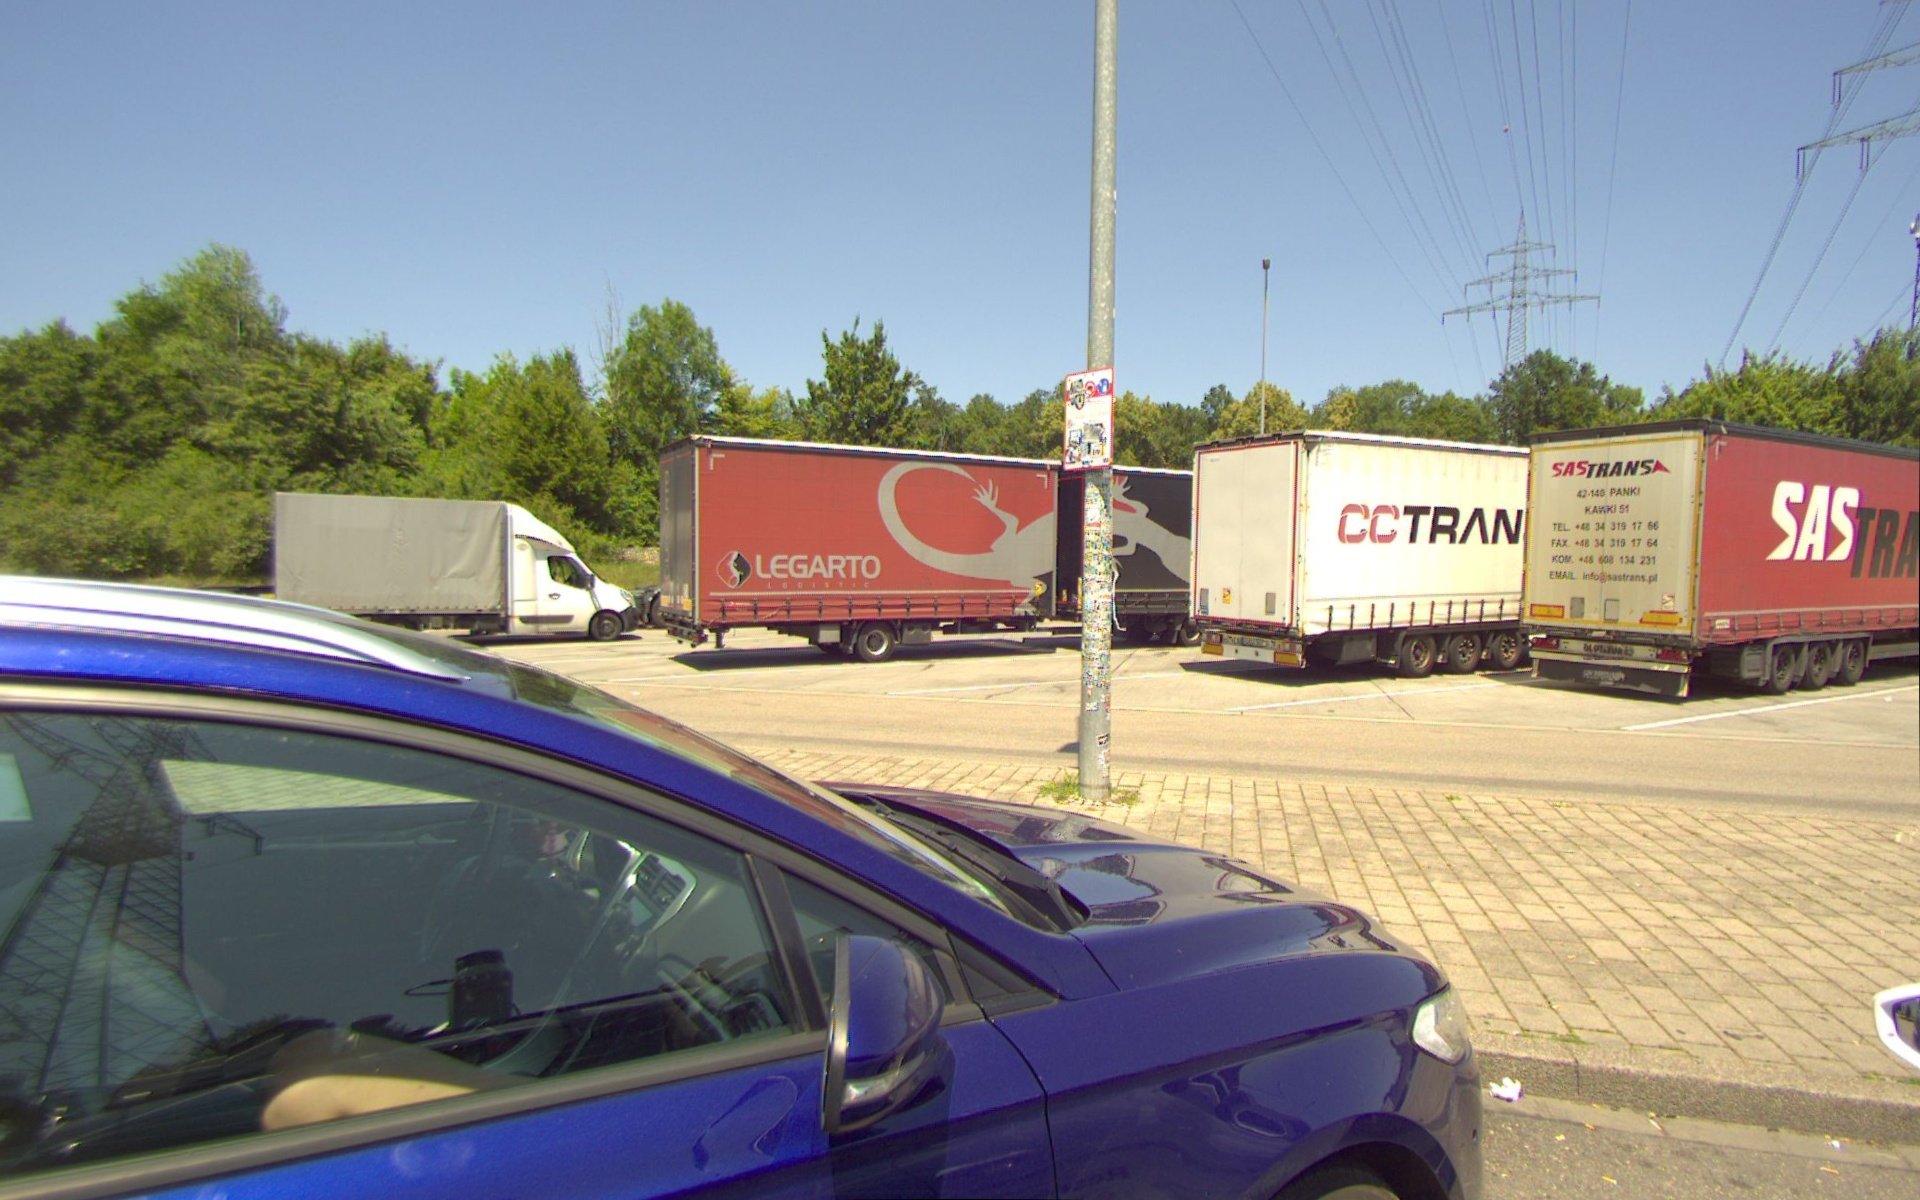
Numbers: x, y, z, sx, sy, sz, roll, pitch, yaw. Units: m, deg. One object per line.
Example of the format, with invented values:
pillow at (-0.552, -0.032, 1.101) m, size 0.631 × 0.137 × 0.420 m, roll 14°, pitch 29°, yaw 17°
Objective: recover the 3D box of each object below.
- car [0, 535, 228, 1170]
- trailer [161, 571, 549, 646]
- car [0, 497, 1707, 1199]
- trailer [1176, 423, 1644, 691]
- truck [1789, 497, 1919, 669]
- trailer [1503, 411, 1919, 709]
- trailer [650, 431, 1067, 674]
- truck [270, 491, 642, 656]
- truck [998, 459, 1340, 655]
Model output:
car at (-4.415, 0.581, 2.087) m, size 4.522 × 1.526 × 1.743 m, roll 0°, pitch 2°, yaw -32°
trailer at (-14.752, 0.113, 25.232) m, size 8.007 × 1.648 × 2.199 m, roll -1°, pitch 3°, yaw -30°
car at (-0.974, 0.654, 1.450) m, size 4.522 × 1.491 × 1.743 m, roll 0°, pitch 2°, yaw -32°
trailer at (8.971, -0.764, 19.343) m, size 10.264 × 4.158 × 2.693 m, roll -1°, pitch 3°, yaw -30°
truck at (21.256, -0.396, 22.047) m, size 5.903 × 3.409 × 2.798 m, roll -1°, pitch 3°, yaw -30°
trailer at (15.464, -0.670, 18.610) m, size 13.599 × 4.127 × 2.807 m, roll -1°, pitch 3°, yaw -31°
trailer at (-1.883, -0.896, 20.329) m, size 8.007 × 4.127 × 2.693 m, roll -1°, pitch 3°, yaw -30°
truck at (-11.241, -0.615, 22.993) m, size 7.187 × 3.289 × 2.694 m, roll -1°, pitch 3°, yaw -29°
truck at (5.269, -0.991, 24.538) m, size 8.586 × 4.127 × 2.693 m, roll -1°, pitch 3°, yaw -30°
